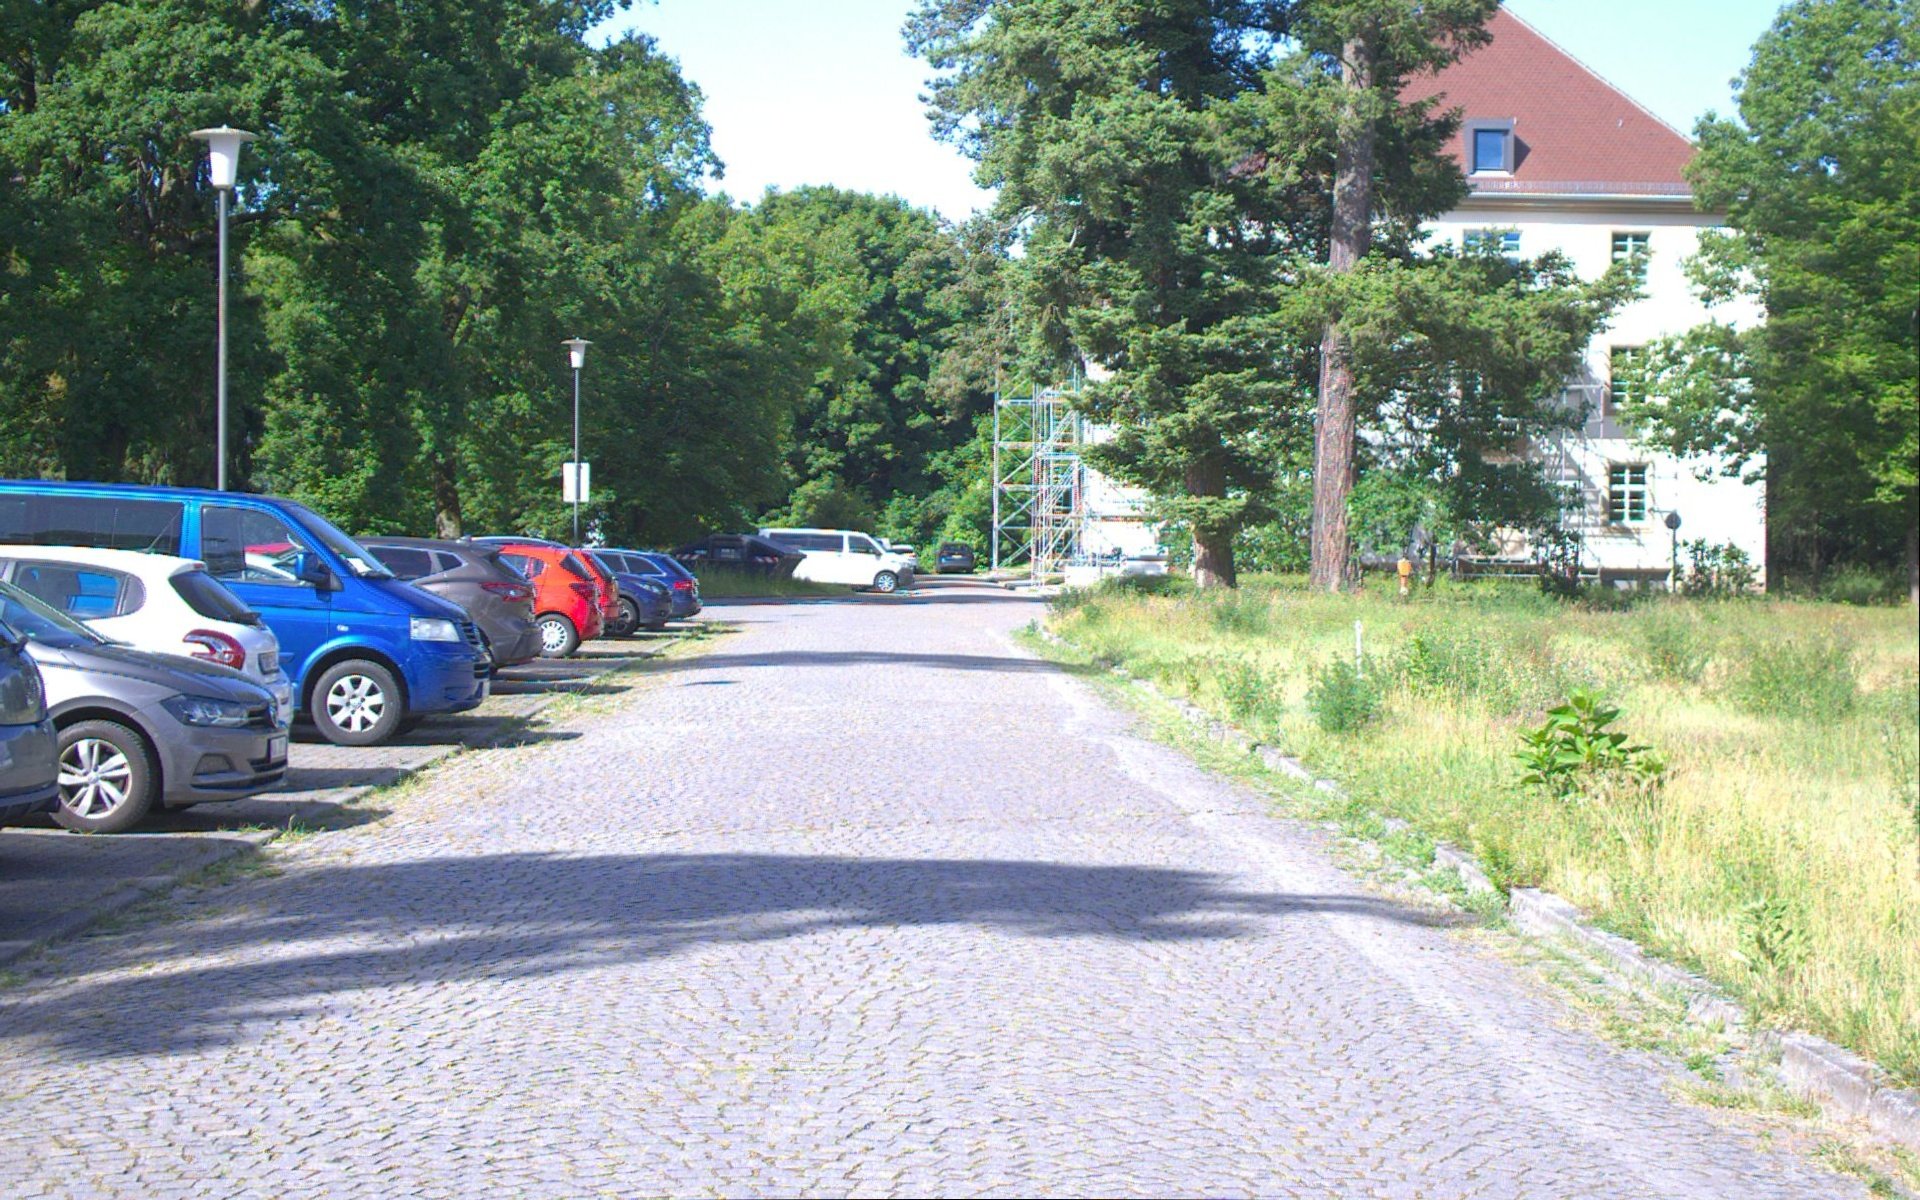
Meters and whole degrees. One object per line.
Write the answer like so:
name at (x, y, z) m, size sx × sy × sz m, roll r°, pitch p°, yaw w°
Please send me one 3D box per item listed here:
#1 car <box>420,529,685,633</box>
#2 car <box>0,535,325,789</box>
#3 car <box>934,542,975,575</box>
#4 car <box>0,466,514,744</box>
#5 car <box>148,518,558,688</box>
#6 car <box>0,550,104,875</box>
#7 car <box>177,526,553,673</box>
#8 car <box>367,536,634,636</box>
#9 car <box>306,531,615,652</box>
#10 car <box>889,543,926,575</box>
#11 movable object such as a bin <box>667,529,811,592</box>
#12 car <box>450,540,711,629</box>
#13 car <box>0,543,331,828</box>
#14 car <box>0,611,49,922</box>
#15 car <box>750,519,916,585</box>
car at (-6.682, -0.333, 56.651) m, size 4.135 × 1.574 × 1.884 m, roll 1°, pitch 1°, yaw -1°
car at (-6.307, 0.326, 21.814) m, size 4.196 × 1.470 × 1.824 m, roll 2°, pitch 1°, yaw -1°
car at (-0.299, -2.138, 176.629) m, size 1.971 × 1.662 × 4.086 m, roll 0°, pitch 1°, yaw -2°
car at (-6.027, 0.002, 27.100) m, size 4.717 × 1.961 × 2.005 m, roll 2°, pitch 1°, yaw -1°
car at (-6.305, 0.008, 36.046) m, size 3.953 × 1.562 × 1.974 m, roll 2°, pitch 2°, yaw -2°
car at (-6.284, 0.429, 16.047) m, size 4.076 × 1.447 × 1.822 m, roll 2°, pitch 0°, yaw 0°
car at (-6.658, -0.021, 38.773) m, size 3.923 × 1.444 × 1.867 m, roll 2°, pitch 1°, yaw -2°
car at (-7.215, -0.233, 54.248) m, size 3.923 × 1.428 × 1.842 m, roll 2°, pitch 1°, yaw 0°
car at (-6.693, -0.129, 46.368) m, size 3.923 × 1.456 × 1.842 m, roll 2°, pitch 1°, yaw -2°
car at (-2.697, -2.104, 176.294) m, size 1.812 × 1.574 × 4.135 m, roll 0°, pitch 1°, yaw -2°
movable object such as a bin at (-6.245, -1.120, 97.126) m, size 3.568 × 1.738 × 2.023 m, roll 1°, pitch 1°, yaw 18°
car at (-6.736, -0.296, 61.336) m, size 4.360 × 1.440 × 1.921 m, roll 2°, pitch 1°, yaw 2°
car at (-5.704, 0.392, 18.941) m, size 4.076 × 1.420 × 1.923 m, roll 2°, pitch 1°, yaw 0°
car at (-5.618, 0.602, 13.389) m, size 3.630 × 1.230 × 1.760 m, roll 2°, pitch 0°, yaw 0°
car at (-4.073, -1.539, 110.252) m, size 5.234 × 2.009 × 1.950 m, roll 1°, pitch 1°, yaw -1°
